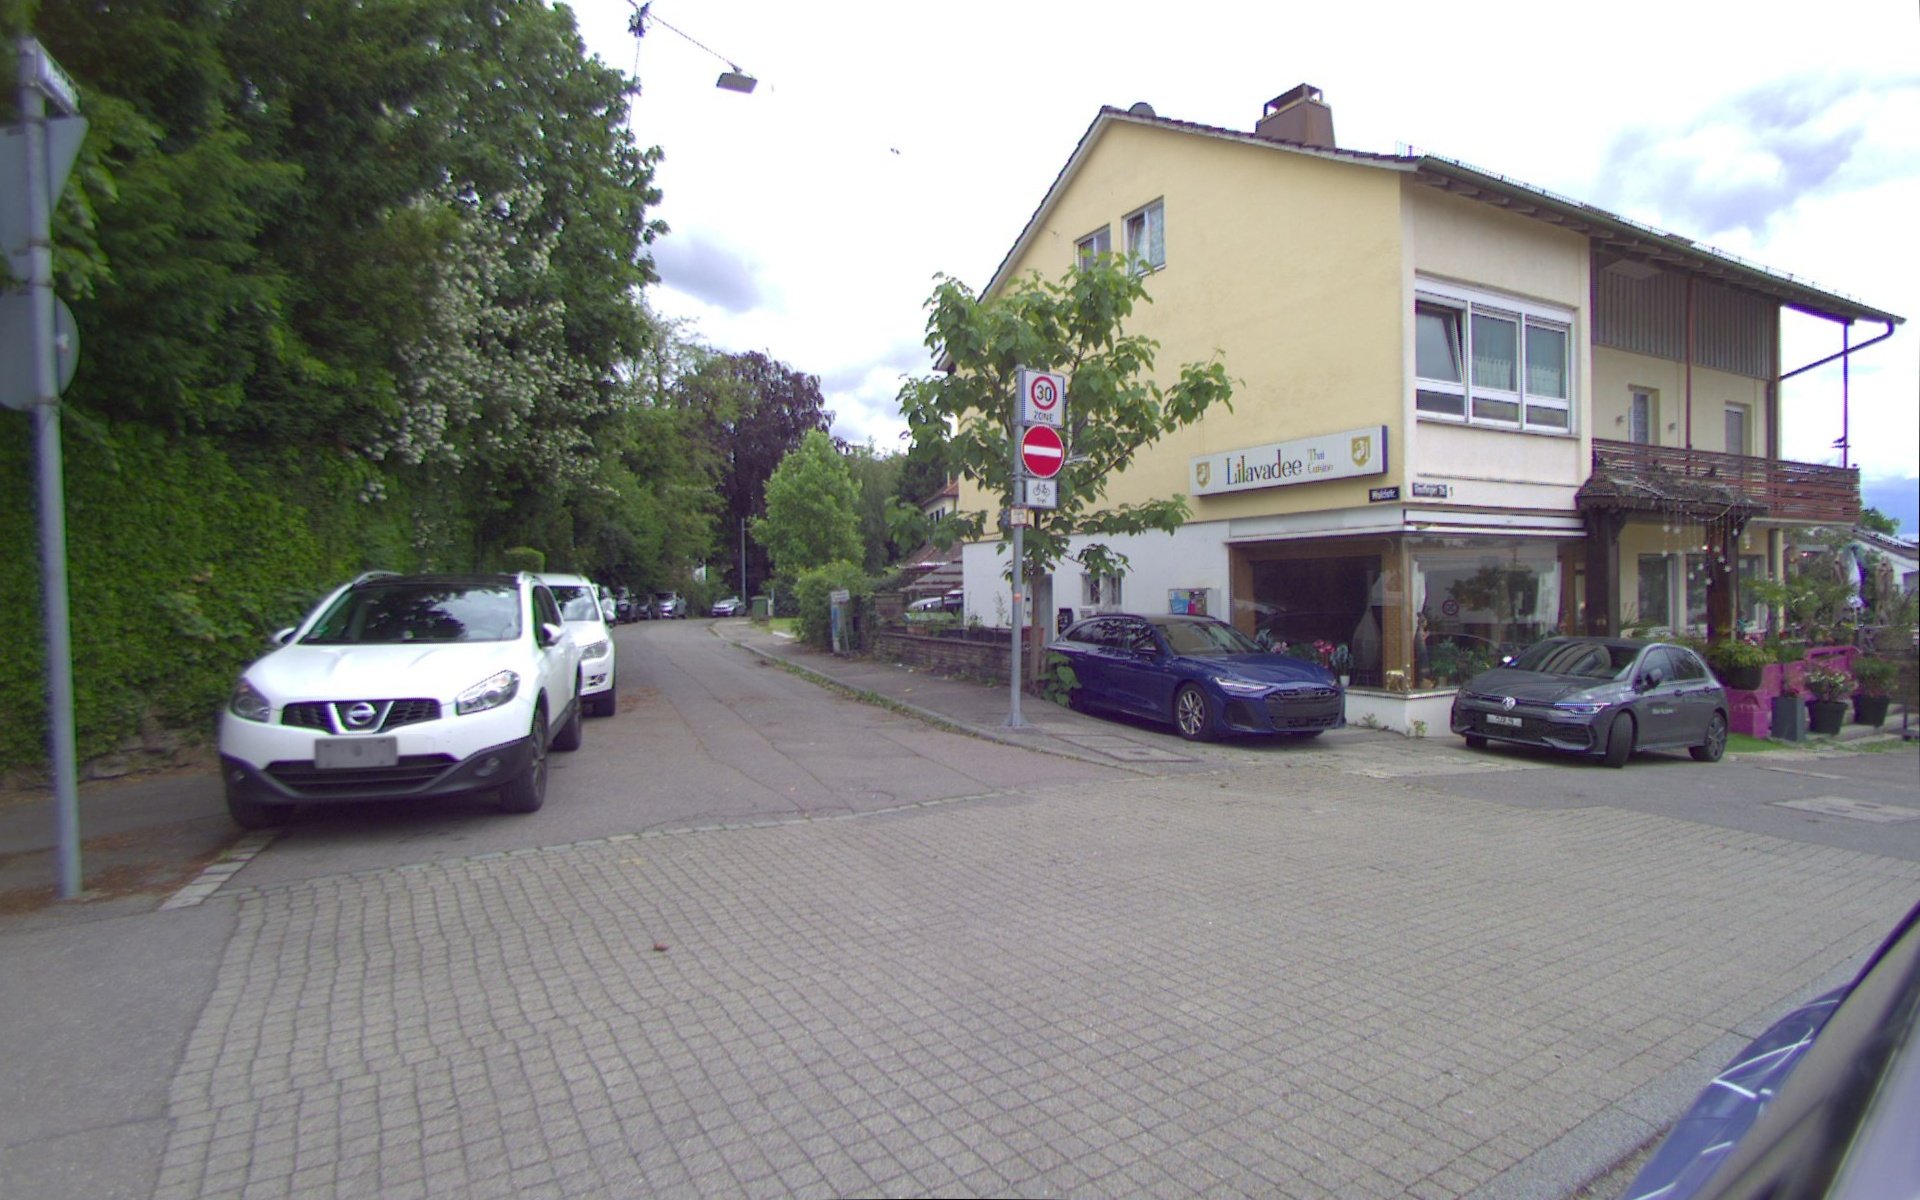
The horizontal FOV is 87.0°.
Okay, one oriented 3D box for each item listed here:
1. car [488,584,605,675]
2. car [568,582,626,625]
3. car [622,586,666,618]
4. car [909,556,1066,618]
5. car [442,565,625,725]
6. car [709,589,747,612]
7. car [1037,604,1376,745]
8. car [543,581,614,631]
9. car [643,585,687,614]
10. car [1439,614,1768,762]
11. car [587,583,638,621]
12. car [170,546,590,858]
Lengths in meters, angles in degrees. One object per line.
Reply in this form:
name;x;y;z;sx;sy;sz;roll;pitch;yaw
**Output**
car;-7.465;0.440;18.524;1.761;1.441;4.080;-1;1;-20
car;-13.423;0.104;37.551;1.542;1.502;3.481;-1;1;-11
car;-15.917;0.075;51.118;1.542;1.502;3.479;-1;1;-8
car;0.803;-0.368;30.222;4.235;1.480;1.802;4;-2;-19
car;-5.177;0.434;12.615;1.761;1.643;4.080;-1;1;-20
car;-16.348;0.029;71.463;1.547;1.502;3.468;0;1;7
car;2.914;0.828;13.216;1.761;1.405;4.758;2;0;-23
car;-12.217;0.139;32.598;1.542;1.502;3.745;-1;1;-11
car;-16.240;-0.040;55.800;1.543;1.502;3.476;0;1;-3
car;7.943;1.065;12.377;4.242;1.480;1.800;5;-2;-34
car;-14.207;0.046;41.532;1.542;1.502;3.481;-1;1;-11
car;-3.867;0.508;7.560;1.761;1.643;4.144;-1;1;-16
